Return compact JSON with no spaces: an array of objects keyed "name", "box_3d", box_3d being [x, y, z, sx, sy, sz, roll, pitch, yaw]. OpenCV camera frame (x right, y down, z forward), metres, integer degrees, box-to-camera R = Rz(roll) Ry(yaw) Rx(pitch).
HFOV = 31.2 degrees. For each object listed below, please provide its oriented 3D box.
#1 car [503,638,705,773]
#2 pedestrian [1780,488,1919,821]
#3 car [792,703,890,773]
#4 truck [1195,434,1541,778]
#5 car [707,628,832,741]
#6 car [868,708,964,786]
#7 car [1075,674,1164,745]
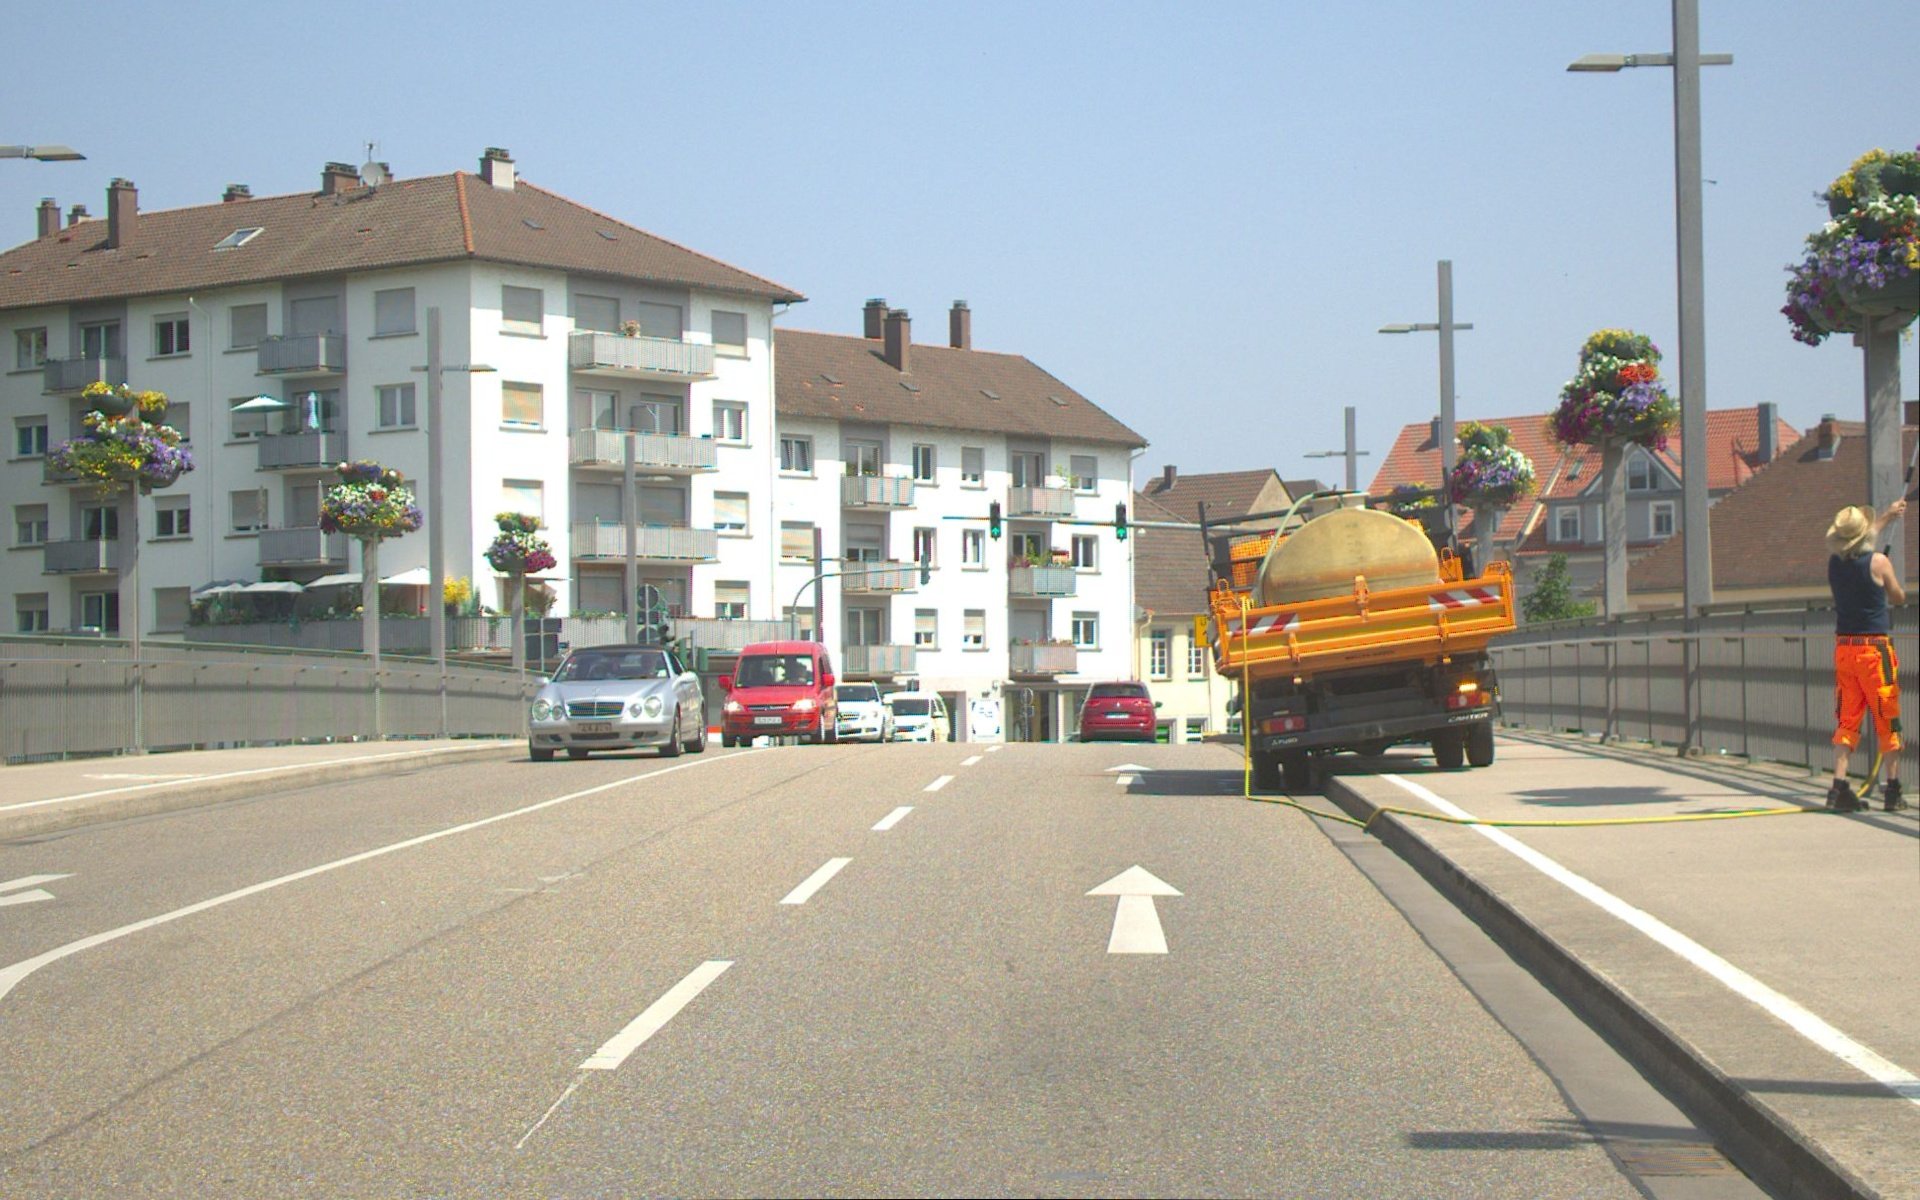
[{"name":"car","box_3d":[-4.202,1.226,41.201,1.698,1.354,4.456,-4,0,3]},{"name":"pedestrian","box_3d":[5.331,0.325,20.542,0.670,1.953,0.548,-1,-2,-4]},{"name":"car","box_3d":[-2.498,2.905,73.113,1.844,1.427,4.713,0,-2,1]},{"name":"truck","box_3d":[3.431,0.082,30.189,2.606,2.682,5.822,-1,-1,3]},{"name":"car","box_3d":[-3.091,1.400,56.575,1.736,1.771,4.176,-1,-2,1]},{"name":"car","box_3d":[-1.150,3.891,91.794,1.759,1.851,4.644,1,0,9]},{"name":"car","box_3d":[3.836,2.630,83.448,1.990,1.607,4.342,-1,-1,1]}]
